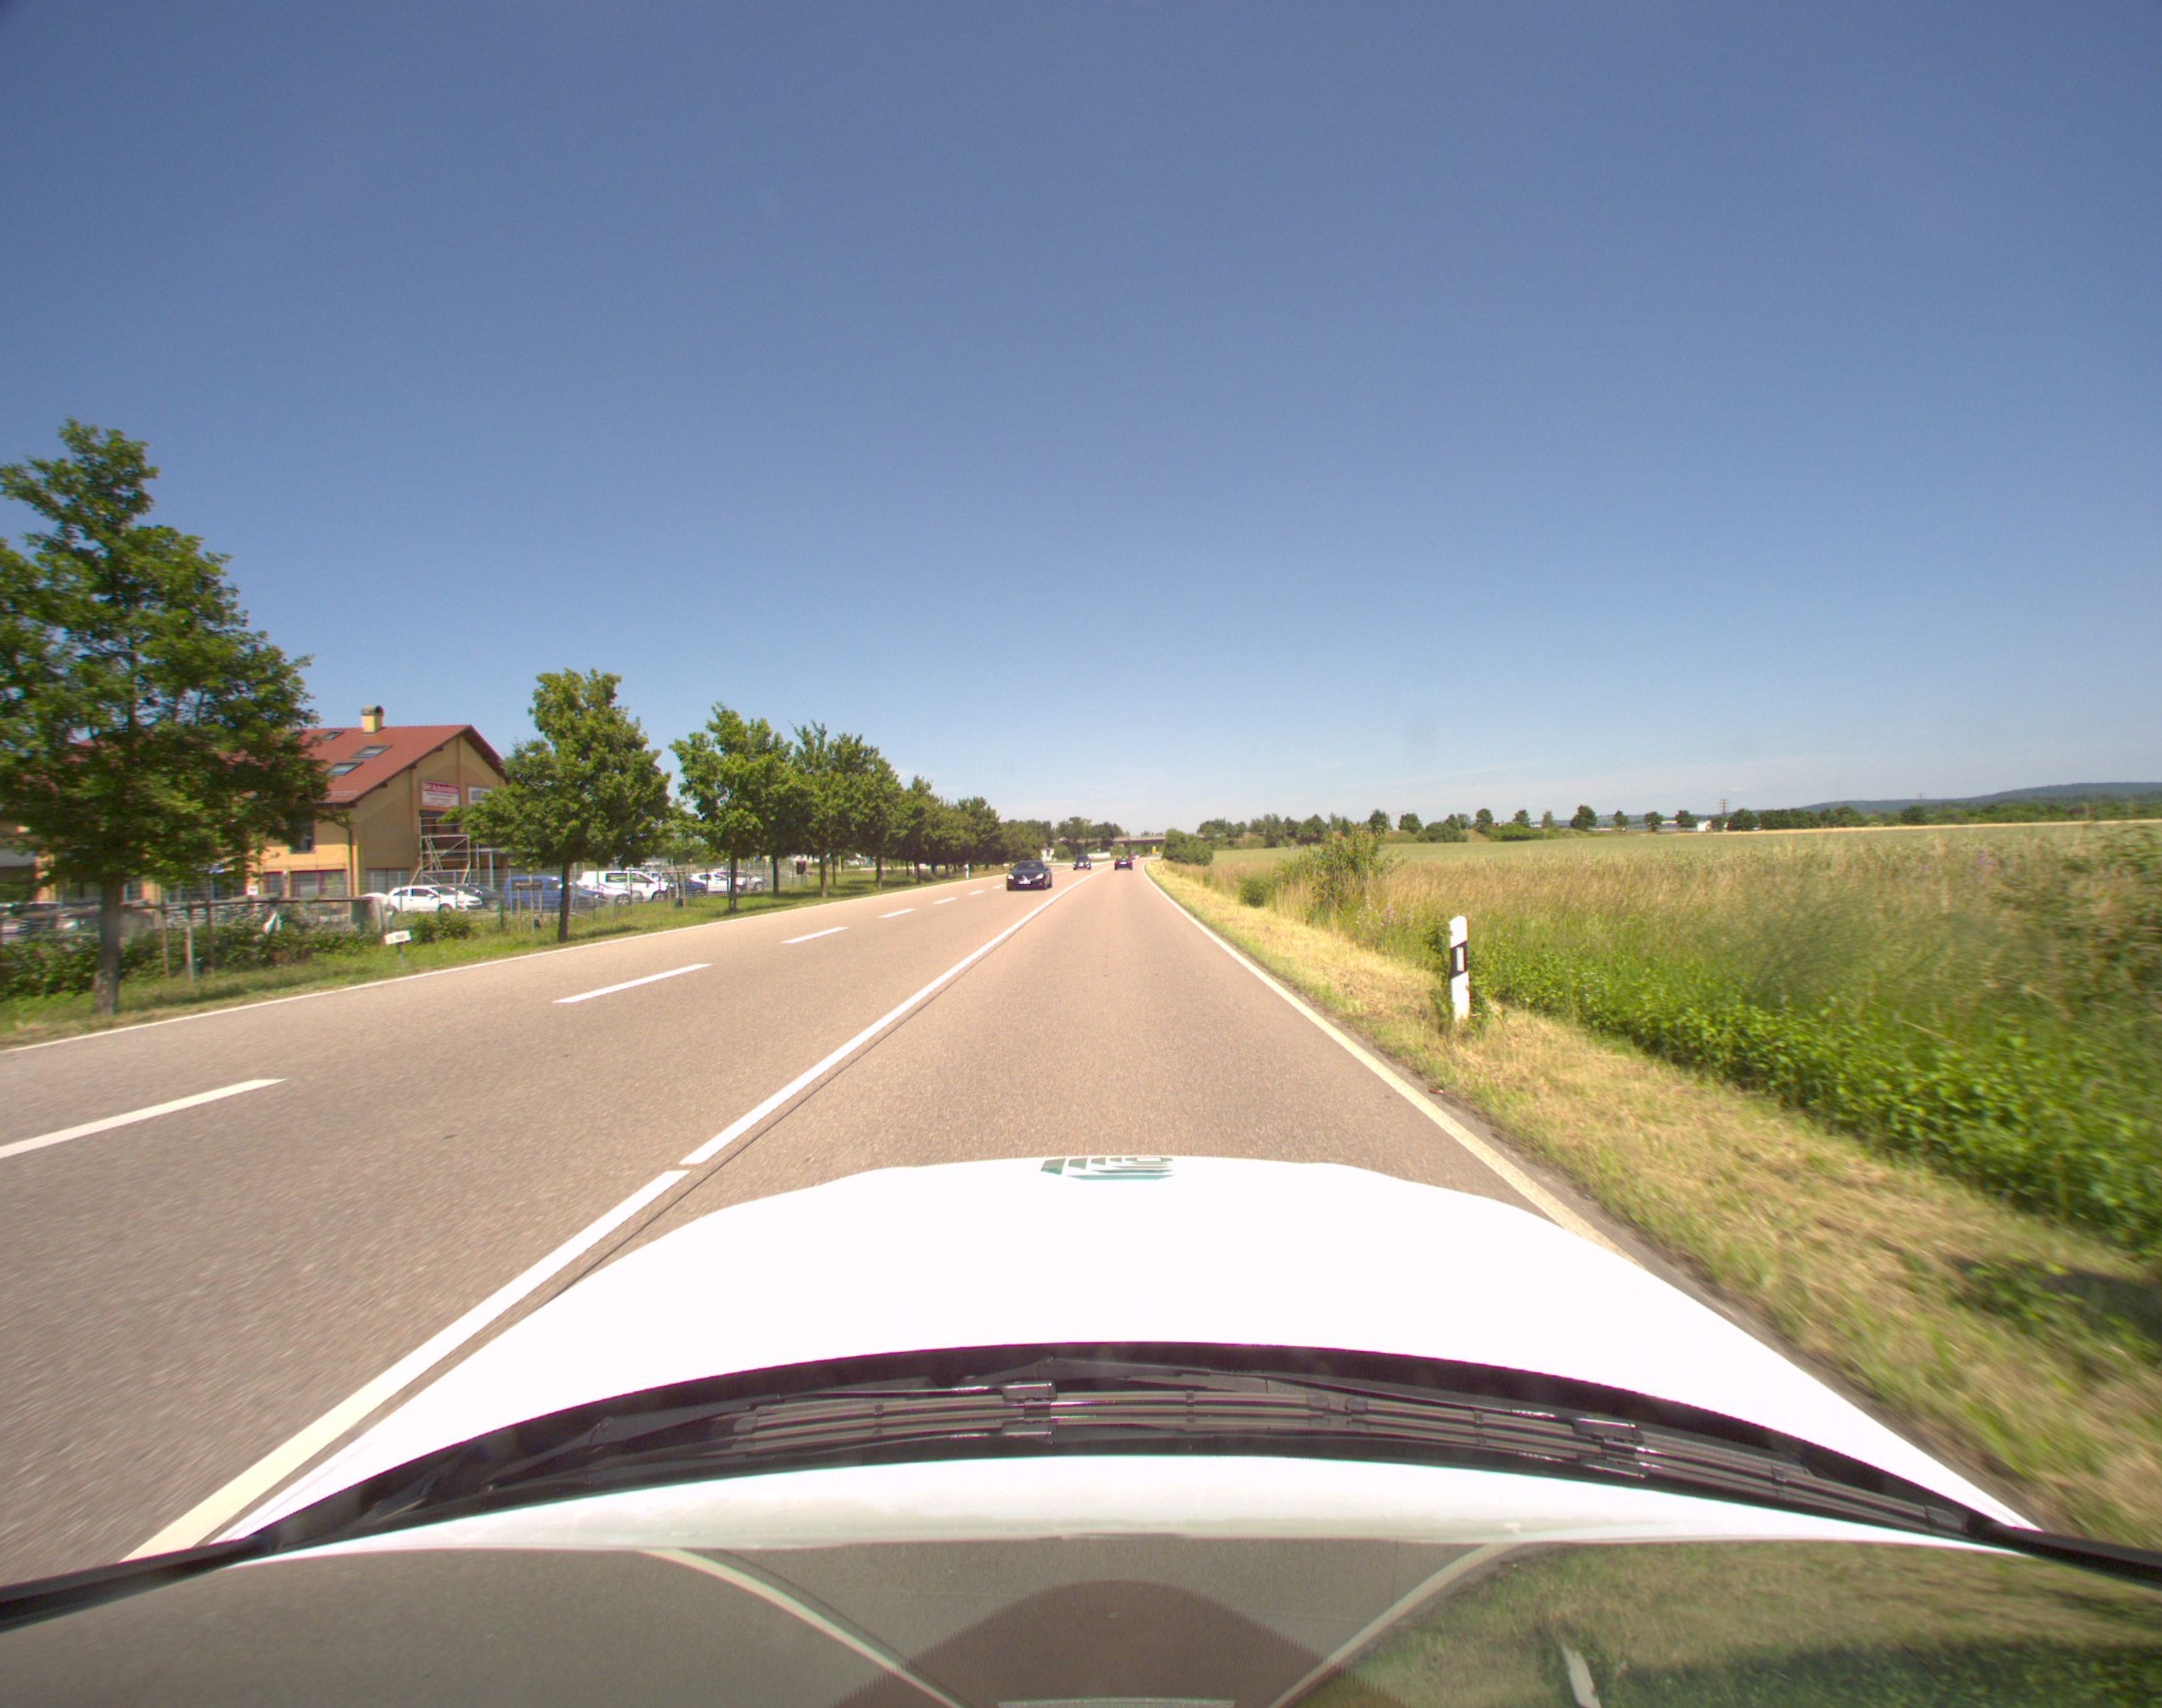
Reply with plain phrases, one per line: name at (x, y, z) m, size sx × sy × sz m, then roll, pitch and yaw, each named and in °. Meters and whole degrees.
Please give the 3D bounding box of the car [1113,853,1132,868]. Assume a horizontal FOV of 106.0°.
car at (4.068, 0.669, 80.713) m, size 1.808 × 1.441 × 4.001 m, roll -1°, pitch 0°, yaw 1°

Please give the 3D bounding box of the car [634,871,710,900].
car at (-25.560, 1.920, 50.918) m, size 4.016 × 1.596 × 1.979 m, roll -1°, pitch 0°, yaw -34°

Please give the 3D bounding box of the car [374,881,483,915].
car at (-30.405, 2.033, 38.017) m, size 3.676 × 1.409 × 1.641 m, roll -1°, pitch 0°, yaw -2°

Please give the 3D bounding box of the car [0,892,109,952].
car at (-36.467, 2.368, 28.145) m, size 4.582 × 1.807 × 2.066 m, roll -3°, pitch 0°, yaw 18°

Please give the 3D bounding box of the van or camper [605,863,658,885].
van or camper at (-50.711, 2.201, 91.991) m, size 2.456 × 2.363 × 6.534 m, roll -1°, pitch -1°, yaw -1°

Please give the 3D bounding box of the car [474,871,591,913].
car at (-26.296, 1.792, 39.225) m, size 4.308 × 1.801 × 2.010 m, roll -1°, pitch 0°, yaw -22°

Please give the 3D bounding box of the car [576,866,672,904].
car at (-26.106, 1.740, 46.644) m, size 4.679 × 1.954 × 1.809 m, roll -1°, pitch 0°, yaw -30°

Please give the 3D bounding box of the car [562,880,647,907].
car at (-25.104, 2.055, 43.031) m, size 3.684 × 1.265 × 1.802 m, roll -1°, pitch 0°, yaw -24°

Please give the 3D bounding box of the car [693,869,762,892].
car at (-25.884, 1.917, 59.704) m, size 4.362 × 1.543 × 1.572 m, roll -1°, pitch 0°, yaw -37°

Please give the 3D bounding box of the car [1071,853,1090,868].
car at (-0.023, 0.658, 83.127) m, size 1.673 × 1.499 × 3.889 m, roll -1°, pitch 0°, yaw 3°

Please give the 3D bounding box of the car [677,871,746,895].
car at (-25.189, 1.974, 55.591) m, size 4.012 × 1.479 × 1.654 m, roll -1°, pitch 0°, yaw -37°

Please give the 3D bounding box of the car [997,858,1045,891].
car at (-2.461, 0.838, 34.343) m, size 1.630 × 1.268 × 3.812 m, roll -1°, pitch 0°, yaw 1°

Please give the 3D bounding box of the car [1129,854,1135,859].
car at (13.321, 0.641, 212.672) m, size 1.735 × 1.411 × 4.628 m, roll 0°, pitch 0°, yaw 3°
